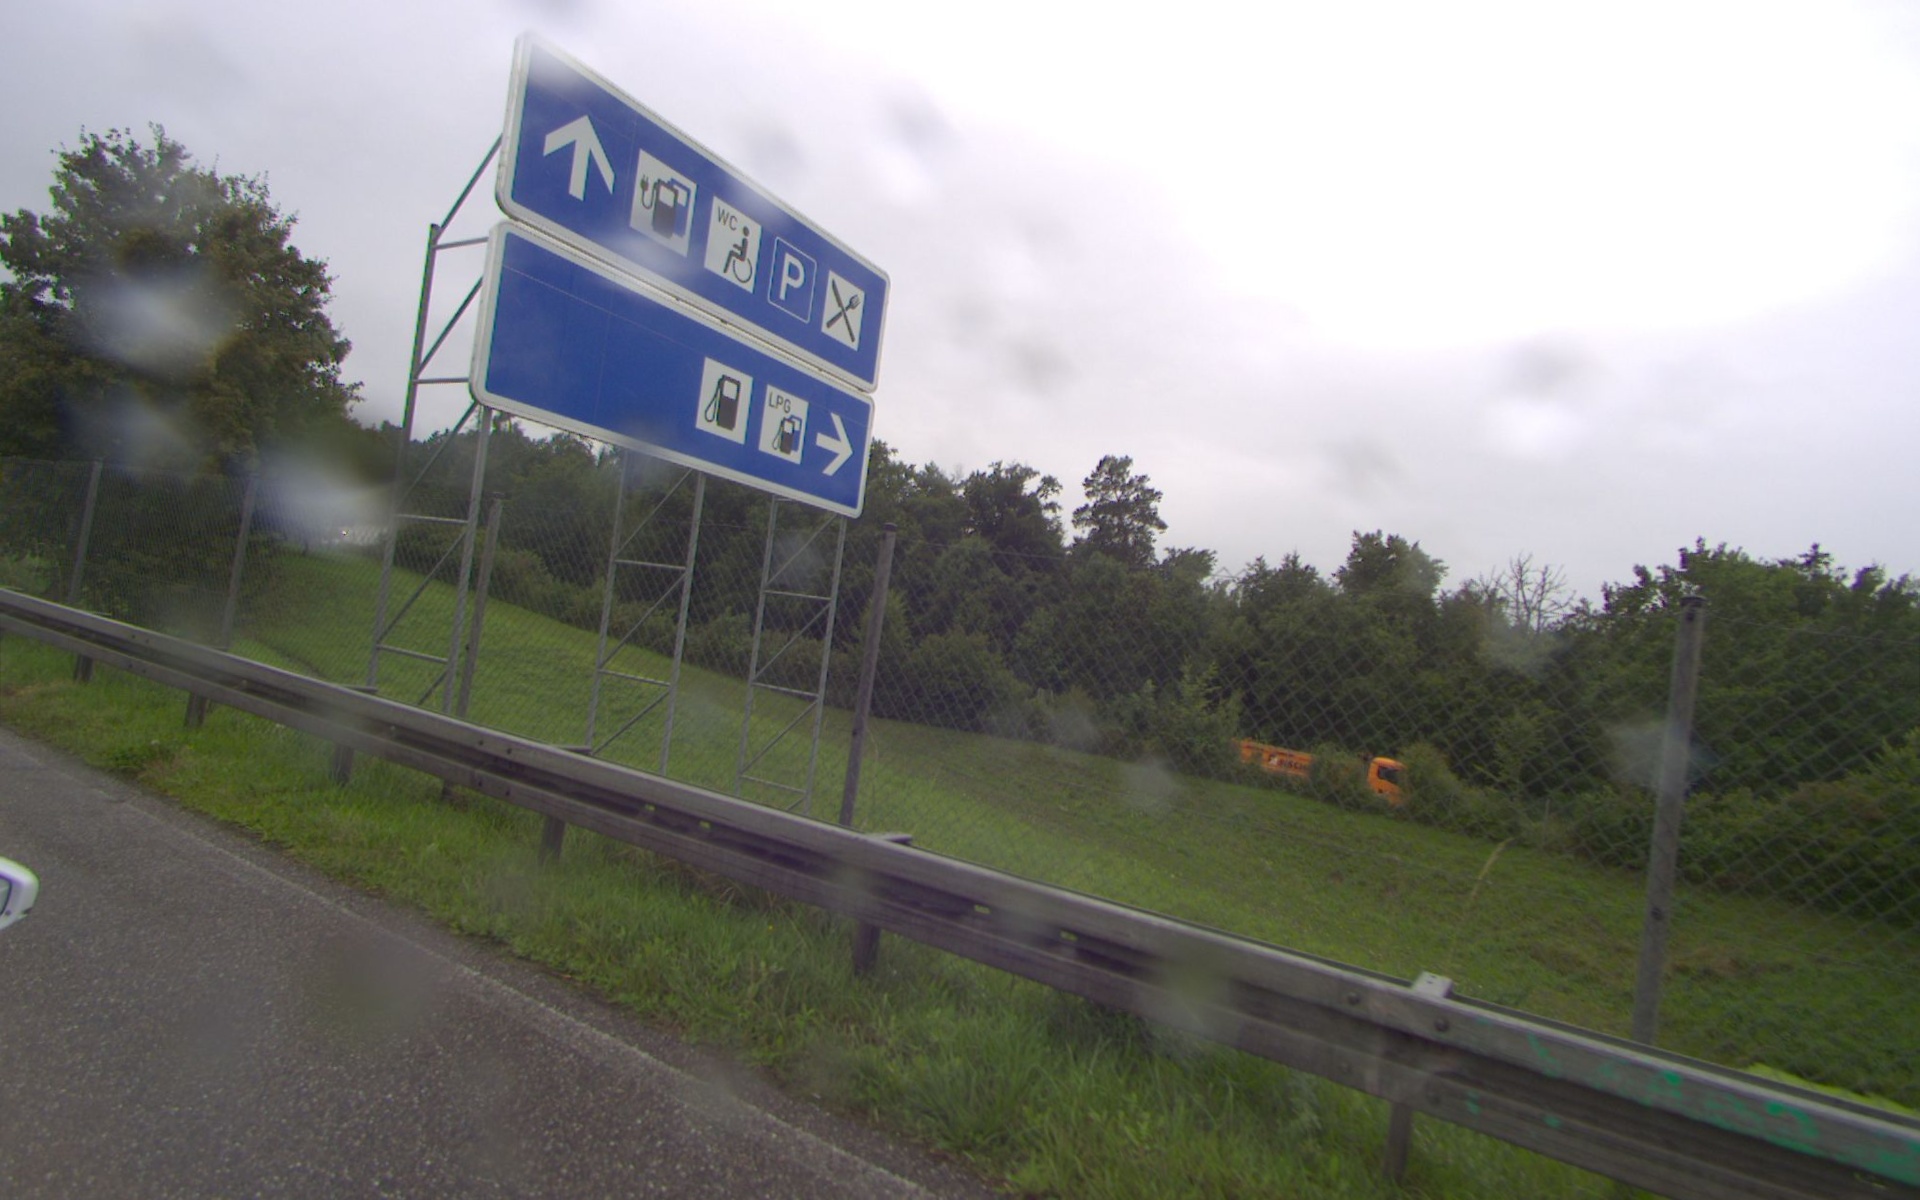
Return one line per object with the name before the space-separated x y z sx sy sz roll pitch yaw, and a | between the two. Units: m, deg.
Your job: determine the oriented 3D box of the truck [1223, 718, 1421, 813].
truck | 16.966 7.753 47.343 8.126 2.685 2.839 8 -7 32
